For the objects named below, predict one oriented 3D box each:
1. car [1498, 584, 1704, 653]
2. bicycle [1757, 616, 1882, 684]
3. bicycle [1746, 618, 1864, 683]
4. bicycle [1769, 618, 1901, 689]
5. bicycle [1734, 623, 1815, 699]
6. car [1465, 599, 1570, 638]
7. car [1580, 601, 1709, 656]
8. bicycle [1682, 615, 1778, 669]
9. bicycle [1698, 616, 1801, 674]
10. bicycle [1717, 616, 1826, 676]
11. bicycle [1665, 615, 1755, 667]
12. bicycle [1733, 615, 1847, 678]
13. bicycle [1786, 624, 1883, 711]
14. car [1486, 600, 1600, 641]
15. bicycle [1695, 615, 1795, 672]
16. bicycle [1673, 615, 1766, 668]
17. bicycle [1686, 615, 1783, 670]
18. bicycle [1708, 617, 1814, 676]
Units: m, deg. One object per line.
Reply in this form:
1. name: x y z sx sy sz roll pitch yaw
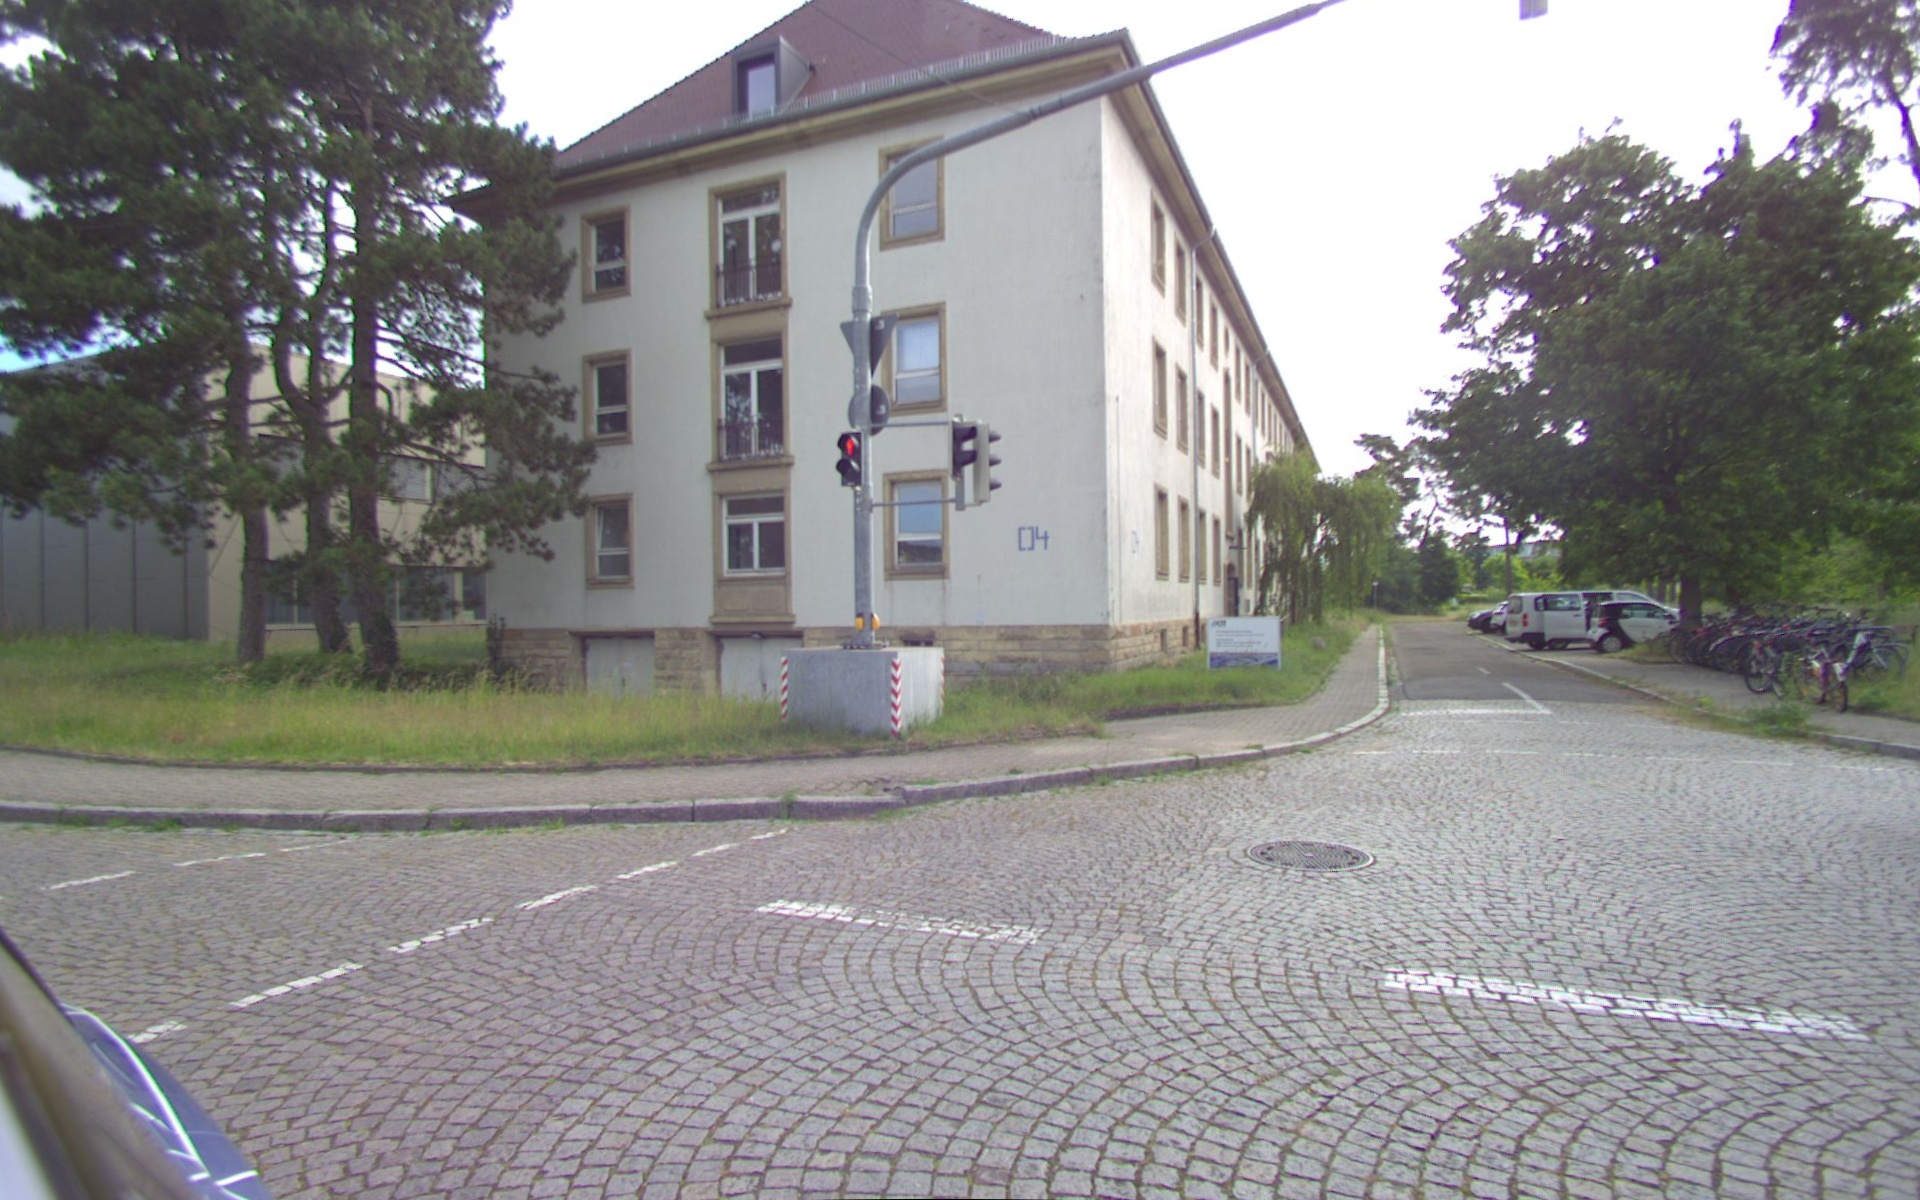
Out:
1. car: 20.655 0.620 32.853 5.114 1.931 2.029 -3 -2 10
2. bicycle: 14.303 0.836 16.877 1.445 1.046 0.495 -4 -2 19
3. bicycle: 14.812 0.879 17.774 1.445 1.046 0.495 -4 -2 19
4. bicycle: 13.949 0.855 16.170 1.444 1.046 0.495 -4 -2 16
5. bicycle: 12.342 0.907 15.368 0.494 1.046 1.406 -4 -1 22
6. car: 26.872 0.900 48.896 4.055 1.780 1.822 -1 1 15
7. car: 19.919 0.820 29.556 2.755 1.426 1.580 -4 -2 23
8. bicycle: 16.231 0.881 21.362 1.445 1.046 0.495 -4 -2 19
9. bicycle: 15.496 0.884 19.897 1.445 1.046 0.495 -4 -2 19
10. bicycle: 15.203 0.862 18.985 1.445 1.046 0.495 -4 -2 19
11. bicycle: 16.512 0.905 22.318 1.445 1.046 0.495 -4 -2 19
12. bicycle: 15.003 0.833 18.324 1.445 1.046 0.495 -4 -2 19
13. bicycle: 11.908 0.899 13.820 0.494 1.082 1.406 -4 -2 22
14. car: 26.243 0.924 45.708 4.055 1.733 1.851 -1 1 15
15. bicycle: 15.830 0.883 20.436 1.445 1.046 0.495 -4 -2 19
16. bicycle: 16.384 0.897 21.860 1.445 1.046 0.495 -4 -2 19
17. bicycle: 15.977 0.879 20.902 1.445 1.046 0.495 -4 -2 19
18. bicycle: 15.351 0.893 19.427 1.445 1.046 0.495 -4 -2 19
